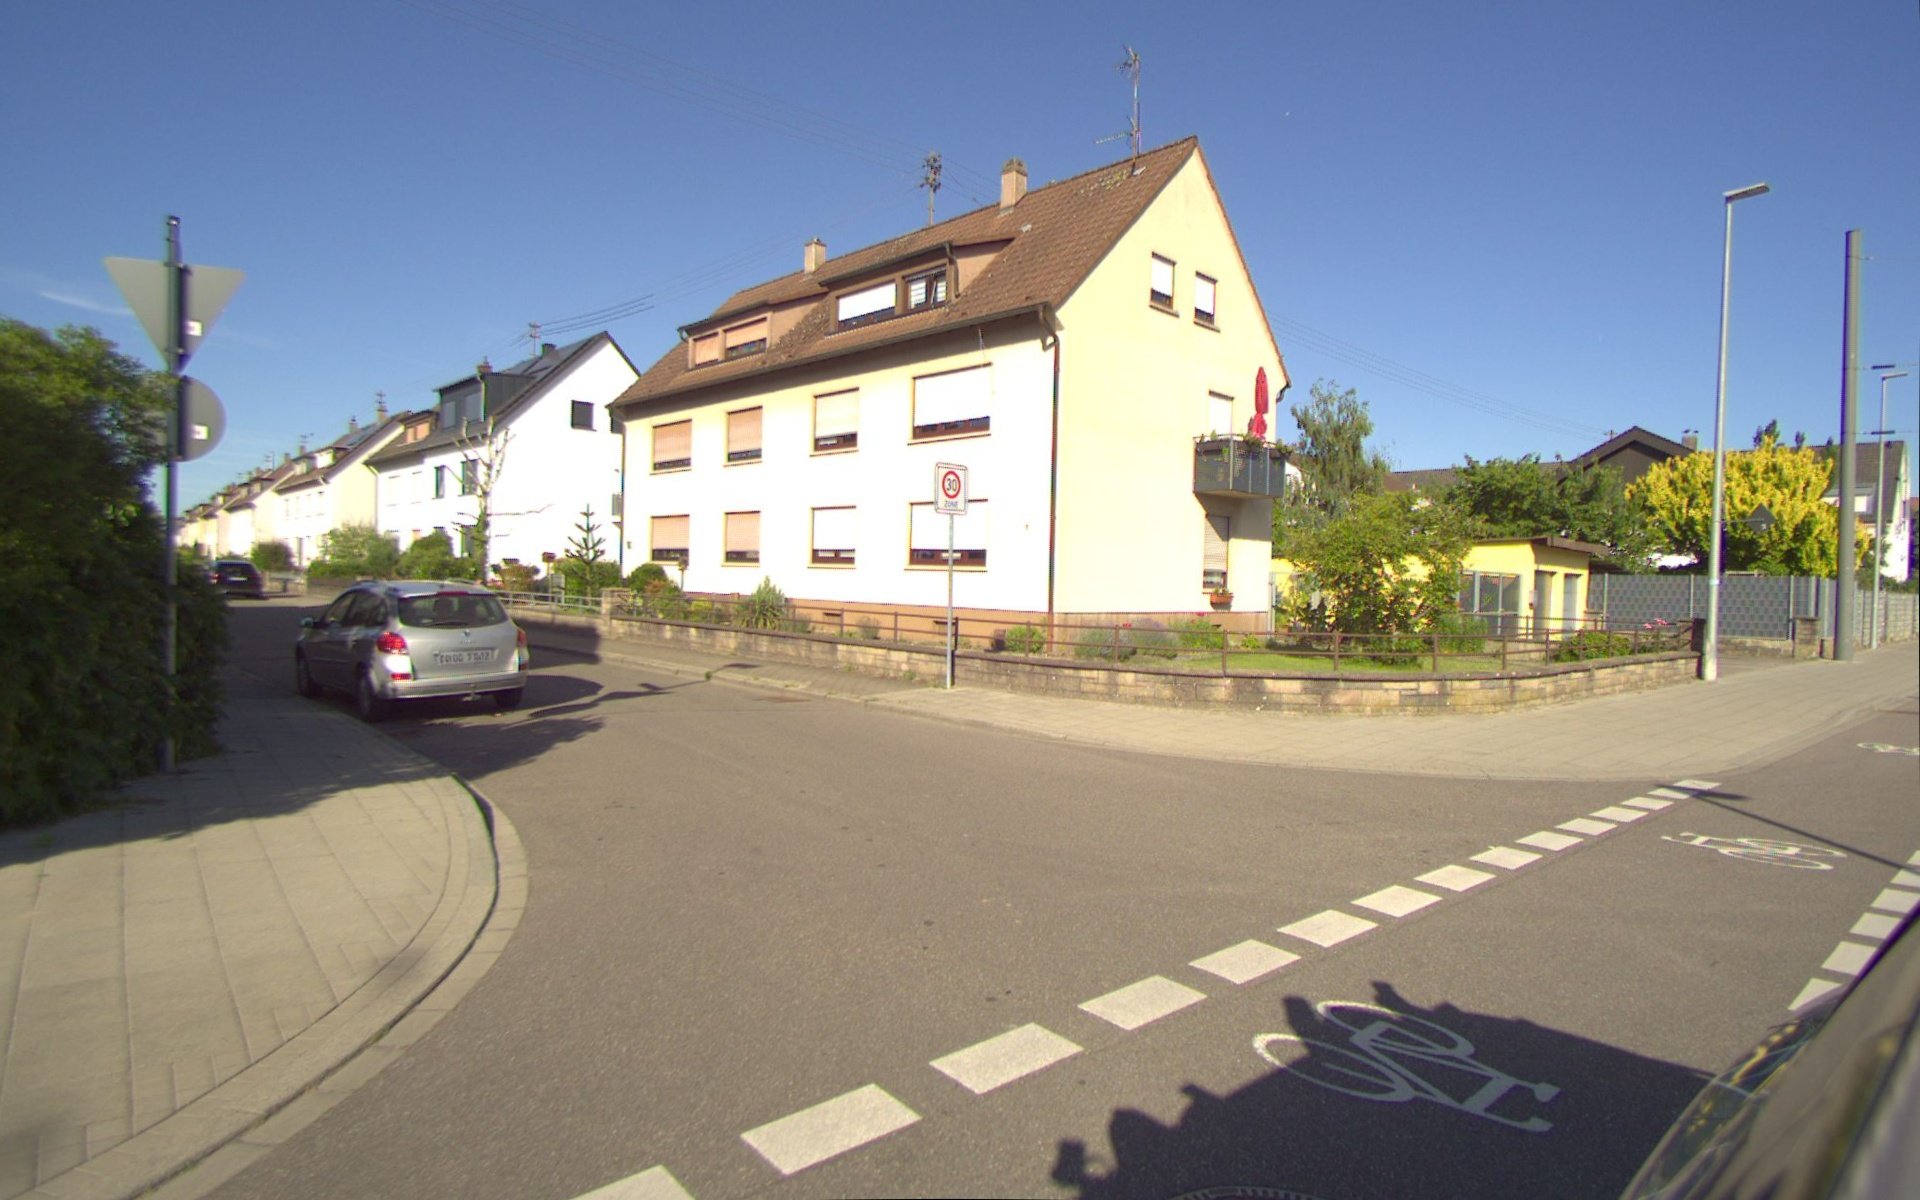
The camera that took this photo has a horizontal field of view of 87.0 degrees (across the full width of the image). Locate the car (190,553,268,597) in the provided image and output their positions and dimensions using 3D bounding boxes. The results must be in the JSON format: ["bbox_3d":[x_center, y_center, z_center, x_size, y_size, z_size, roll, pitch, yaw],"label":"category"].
[{"bbox_3d":[-29.565,-1.050,40.894,1.885,1.705,4.217,-2,3,-45],"label":"car"}]

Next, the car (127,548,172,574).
[{"bbox_3d":[-53.632,-2.584,66.941,1.847,1.641,4.141,-2,3,-45],"label":"car"}]

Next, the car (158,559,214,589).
[{"bbox_3d":[-40.617,-1.396,53.075,1.834,1.486,4.104,-2,3,-45],"label":"car"}]

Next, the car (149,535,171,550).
[{"bbox_3d":[-123.221,-8.853,155.862,3.981,2.039,1.971,0,1,40],"label":"car"}]

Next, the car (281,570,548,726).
[{"bbox_3d":[-6.811,0.425,12.446,1.773,1.530,4.141,-2,3,-45],"label":"car"}]

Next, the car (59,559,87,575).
[{"bbox_3d":[-86.632,-3.266,98.839,1.773,1.530,4.141,-2,3,-45],"label":"car"}]
